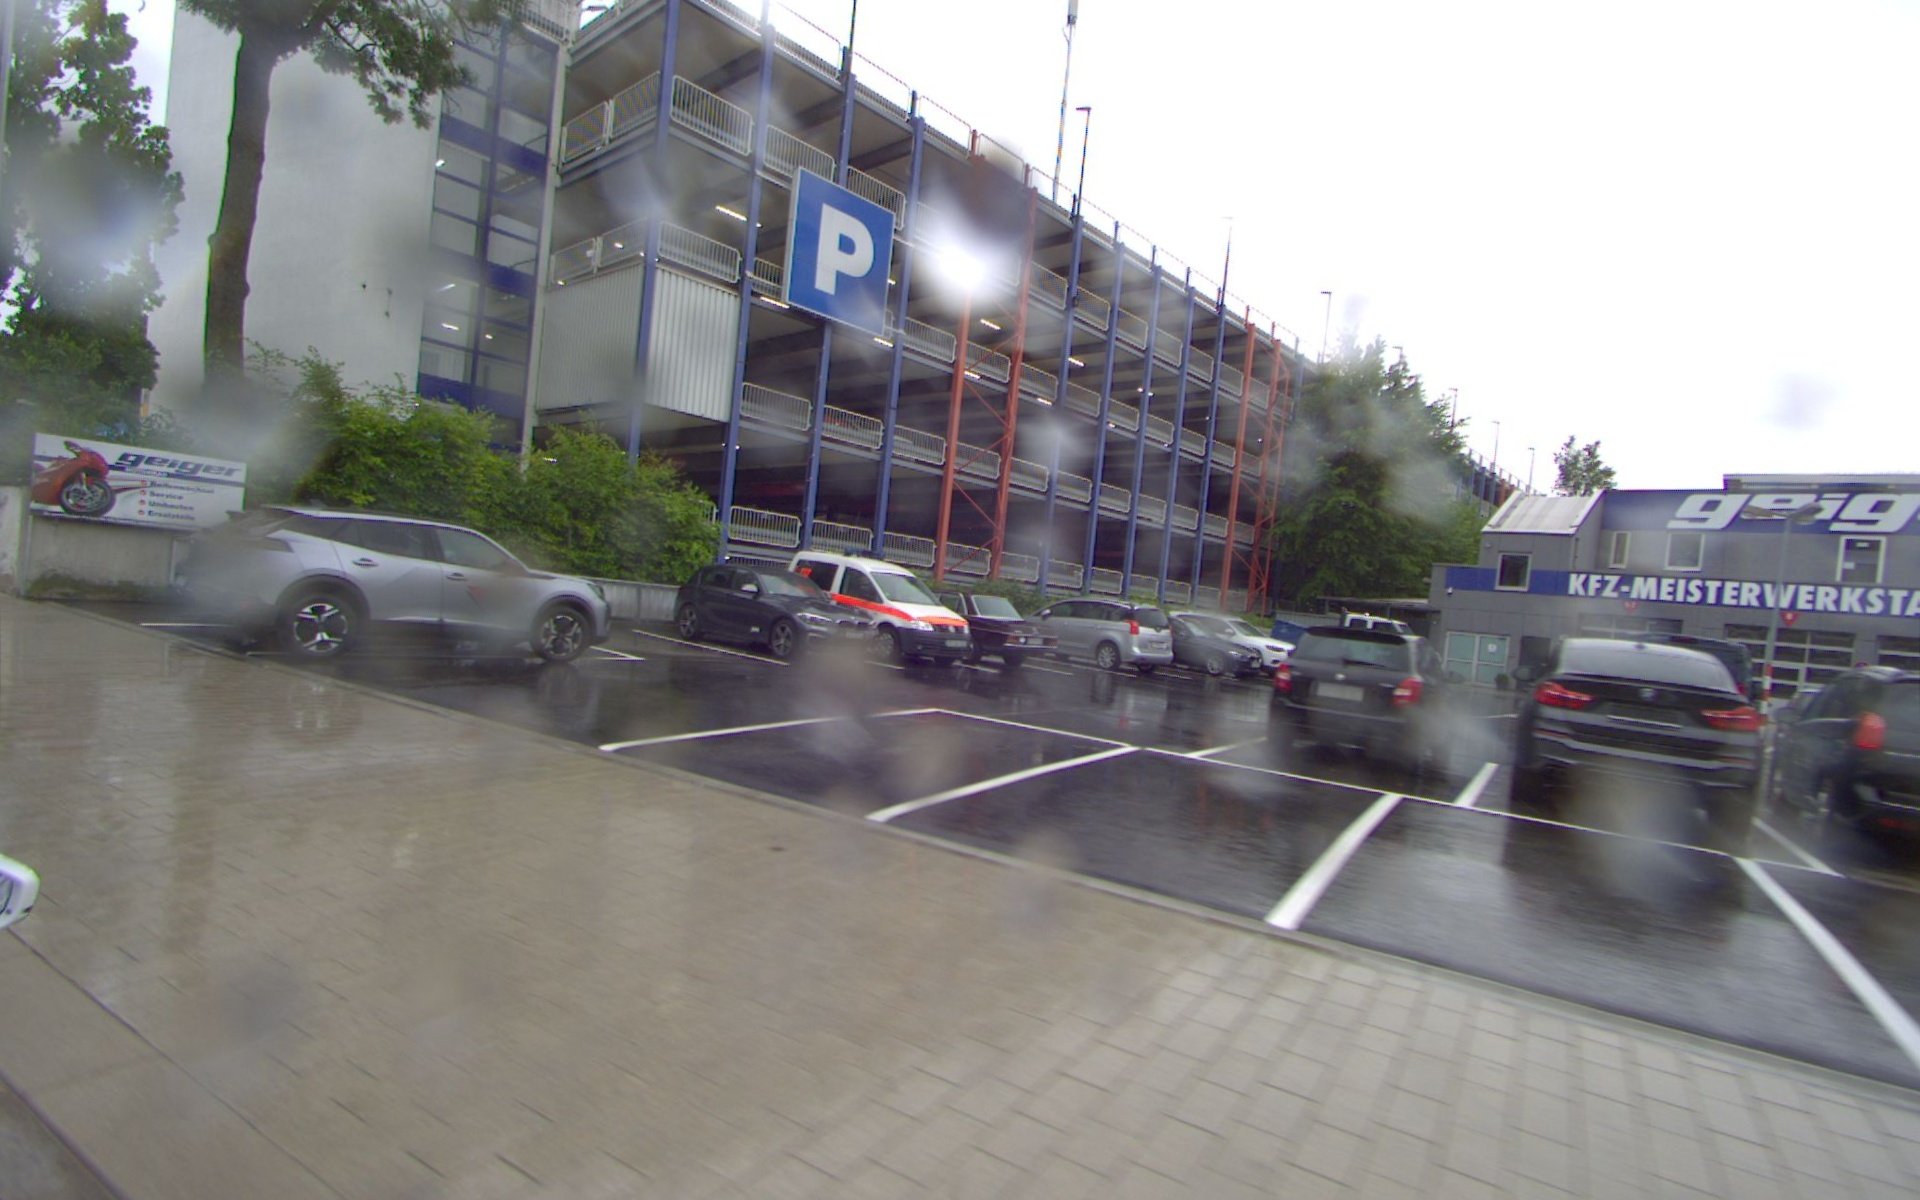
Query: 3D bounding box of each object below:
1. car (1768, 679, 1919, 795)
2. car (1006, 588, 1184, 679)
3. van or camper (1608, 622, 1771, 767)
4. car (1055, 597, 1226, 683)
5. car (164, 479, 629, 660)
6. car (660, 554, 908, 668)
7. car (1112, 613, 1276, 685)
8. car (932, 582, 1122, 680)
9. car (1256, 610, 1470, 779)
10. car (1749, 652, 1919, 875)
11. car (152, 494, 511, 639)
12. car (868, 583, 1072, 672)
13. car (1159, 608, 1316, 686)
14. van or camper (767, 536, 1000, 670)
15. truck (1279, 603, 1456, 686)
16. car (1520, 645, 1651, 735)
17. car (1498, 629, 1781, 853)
[{"bbox_3d":[16.116,2.380,18.406,1.838,1.604,4.347,7,2,40],"label":"car"},{"bbox_3d":[3.229,0.787,24.582,3.947,1.701,1.725,7,2,44],"label":"car"},{"bbox_3d":[14.916,1.818,20.435,2.190,2.356,4.947,7,2,39],"label":"van or camper"},{"bbox_3d":[4.630,1.011,26.138,3.947,1.701,1.725,7,2,44],"label":"car"},{"bbox_3d":[-6.265,-0.265,11.553,1.972,1.671,4.197,7,2,41],"label":"car"},{"bbox_3d":[-3.131,0.163,17.410,4.146,1.460,1.930,7,0,40],"label":"car"},{"bbox_3d":[6.505,1.344,28.138,3.948,1.502,1.890,4,-5,43],"label":"car"},{"bbox_3d":[1.430,0.656,22.611,3.947,1.701,1.725,7,2,44],"label":"car"},{"bbox_3d":[4.913,1.057,11.959,1.615,1.519,3.690,7,0,32],"label":"car"},{"bbox_3d":[8.980,1.463,9.521,1.756,1.679,4.358,7,1,32],"label":"car"},{"bbox_3d":[-8.197,-0.387,13.339,1.781,1.514,3.614,7,1,41],"label":"car"},{"bbox_3d":[0.147,0.548,20.970,3.941,1.372,1.727,7,2,39],"label":"car"},{"bbox_3d":[8.196,1.381,29.930,3.948,1.833,1.890,4,-5,43],"label":"car"},{"bbox_3d":[-1.574,0.004,19.393,4.402,2.062,1.833,7,1,43],"label":"van or camper"},{"bbox_3d":[14.226,1.523,35.300,5.235,2.293,1.993,4,-4,42],"label":"truck"},{"bbox_3d":[16.292,2.358,26.119,3.980,1.835,1.921,11,-5,-44],"label":"car"},{"bbox_3d":[6.672,1.237,10.273,1.809,1.579,4.360,7,1,30],"label":"car"}]
